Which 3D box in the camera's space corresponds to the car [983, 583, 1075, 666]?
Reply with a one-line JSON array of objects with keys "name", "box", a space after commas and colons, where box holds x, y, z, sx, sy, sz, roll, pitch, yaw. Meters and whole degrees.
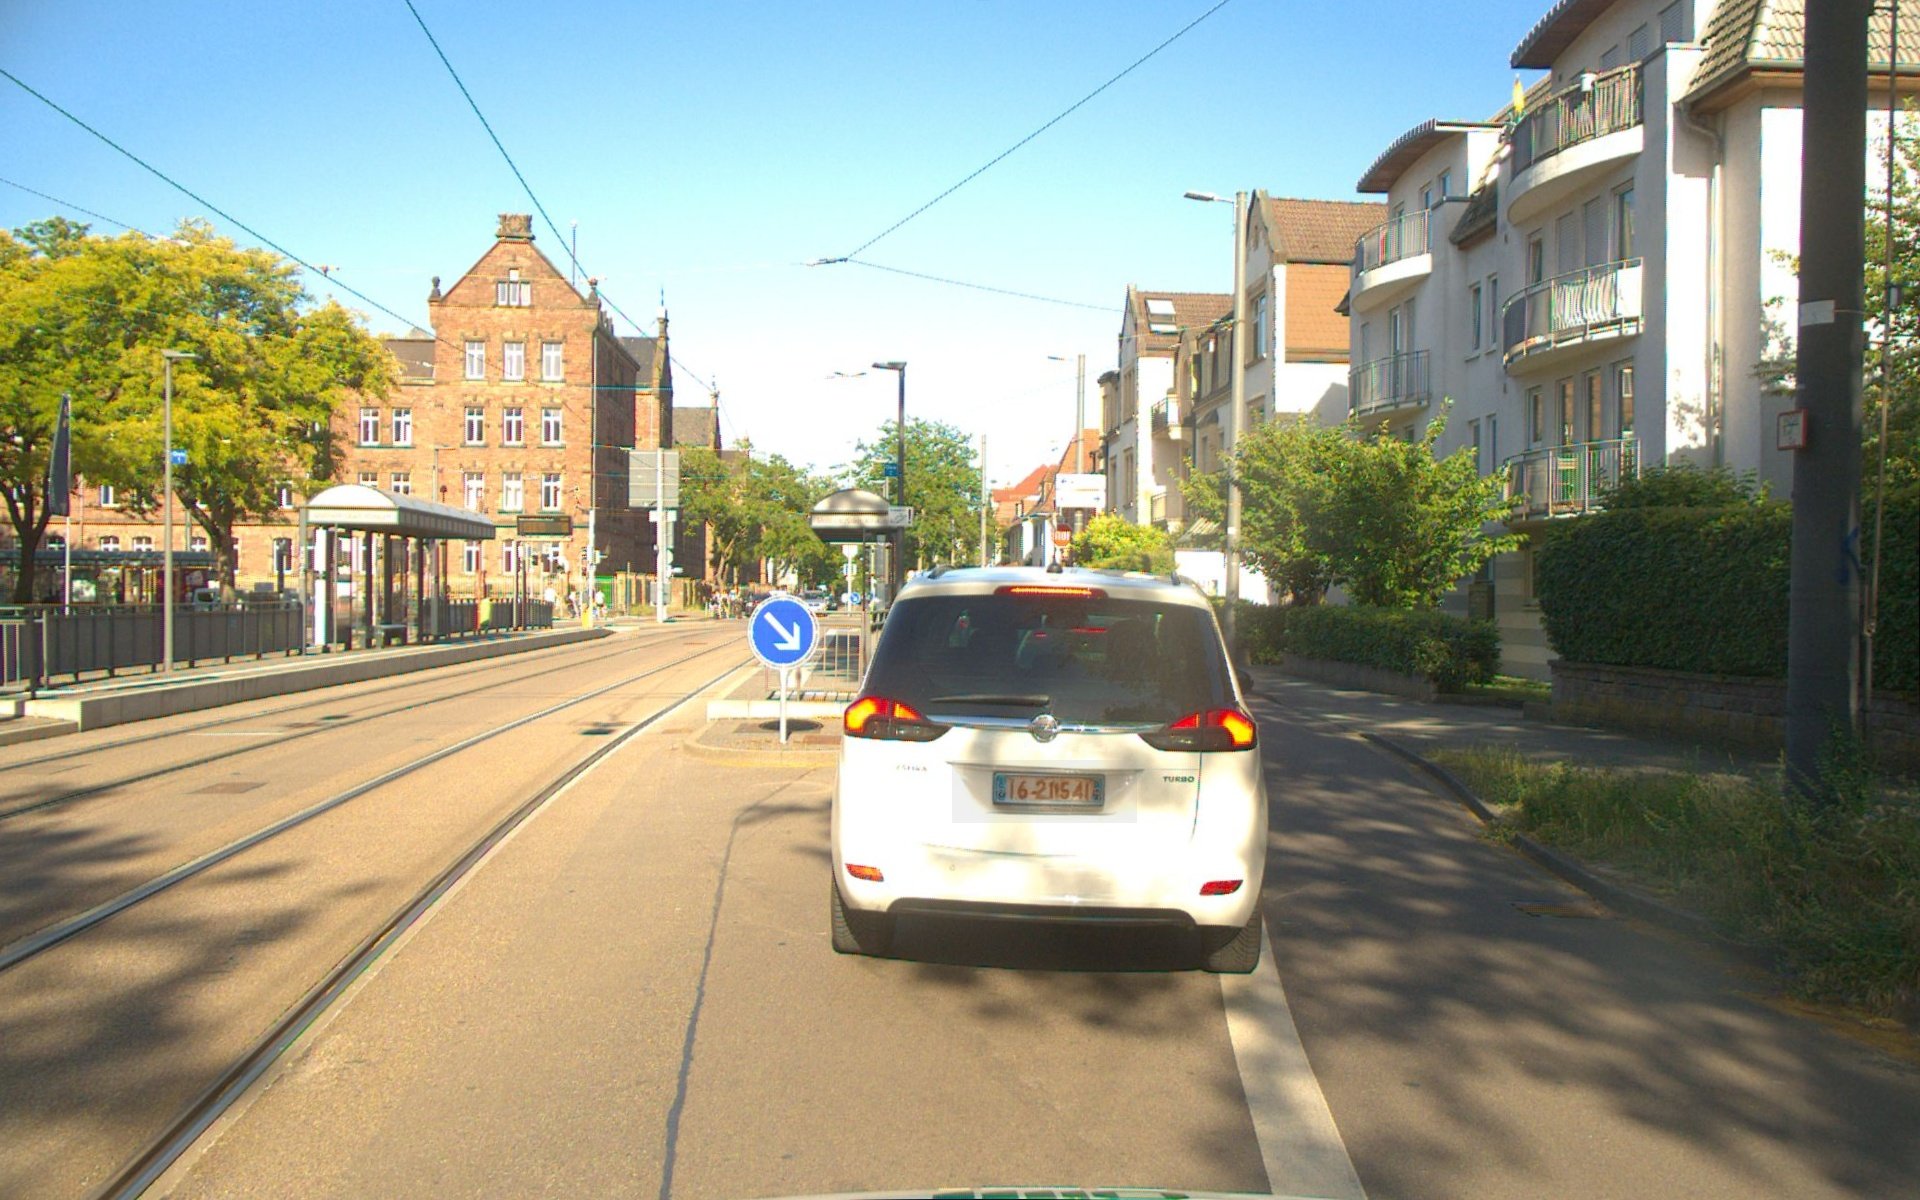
[{"name": "car", "box": [1.448, 0.501, 36.125, 1.868, 1.690, 4.000, 0, 0, 0]}]

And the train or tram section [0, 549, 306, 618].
[{"name": "train or tram section", "box": [-40.745, -0.761, 79.428, 17.048, 3.210, 3.343, 0, 0, -6]}]

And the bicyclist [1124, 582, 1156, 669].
[{"name": "bicyclist", "box": [3.606, 0.504, 33.159, 0.603, 1.716, 0.779, 0, 0, 3]}]

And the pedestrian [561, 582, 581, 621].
[{"name": "pedestrian", "box": [-20.706, 0.086, 88.030, 0.788, 2.049, 0.712, 1, -1, -34]}]

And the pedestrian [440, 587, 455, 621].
[{"name": "pedestrian", "box": [-27.229, 0.197, 87.910, 0.754, 1.805, 0.717, 1, -1, -18]}]

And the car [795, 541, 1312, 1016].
[{"name": "car", "box": [0.546, 0.626, 7.987, 1.866, 1.690, 4.003, 0, 0, 6]}]

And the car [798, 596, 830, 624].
[{"name": "car", "box": [-9.448, 0.623, 107.208, 1.711, 1.746, 3.999, 1, 0, -1]}]

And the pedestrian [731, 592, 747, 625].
[{"name": "pedestrian", "box": [-12.903, 0.491, 96.565, 0.731, 1.934, 0.804, 1, -1, -24]}]

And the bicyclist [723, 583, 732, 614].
[{"name": "bicyclist", "box": [-15.289, -0.083, 108.894, 0.488, 2.049, 0.572, 0, 0, -1]}]

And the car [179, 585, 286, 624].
[{"name": "car", "box": [-32.443, 0.220, 73.826, 3.908, 1.658, 1.817, 1, 0, -4]}]

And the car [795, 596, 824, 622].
[{"name": "car", "box": [-10.465, 0.601, 115.049, 1.711, 1.746, 3.999, 1, 0, -1]}]

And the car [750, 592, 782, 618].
[{"name": "car", "box": [-13.302, 0.360, 113.504, 1.711, 1.746, 3.999, 1, 0, -1]}]

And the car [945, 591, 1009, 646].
[{"name": "car", "box": [0.505, 0.554, 53.088, 1.869, 1.690, 3.998, 0, 0, -2]}]

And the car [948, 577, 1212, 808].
[{"name": "car", "box": [1.070, 0.643, 13.780, 1.866, 1.625, 4.003, 0, 0, 6]}]

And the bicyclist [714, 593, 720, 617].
[{"name": "bicyclist", "box": [-15.101, 0.293, 102.808, 0.307, 1.469, 0.384, 0, 0, -1]}]

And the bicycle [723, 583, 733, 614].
[{"name": "bicycle", "box": [-15.298, -0.083, 108.913, 0.477, 2.049, 1.405, 0, 0, -1]}]

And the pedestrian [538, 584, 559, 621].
[{"name": "pedestrian", "box": [-22.046, 0.145, 88.667, 0.791, 1.934, 0.744, 1, -1, 13]}]

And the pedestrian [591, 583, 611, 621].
[{"name": "pedestrian", "box": [-19.252, 0.114, 88.674, 0.789, 2.049, 0.711, 1, -1, -38]}]

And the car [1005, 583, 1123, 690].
[{"name": "car", "box": [1.791, 0.574, 28.292, 1.867, 1.690, 4.002, 0, 0, 4]}]

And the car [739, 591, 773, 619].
[{"name": "car", "box": [-13.156, 0.301, 106.840, 1.711, 1.746, 3.999, 1, 0, -1]}]

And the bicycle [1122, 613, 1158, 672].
[{"name": "bicycle", "box": [3.599, 0.836, 33.126, 0.611, 1.116, 1.974, 0, 0, 3]}]

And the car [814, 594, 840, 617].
[{"name": "car", "box": [-10.351, 0.447, 128.905, 1.711, 1.746, 3.999, 1, 0, -1]}]

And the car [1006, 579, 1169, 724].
[{"name": "car", "box": [1.685, 0.584, 21.041, 1.866, 1.653, 4.003, 0, 0, 6]}]

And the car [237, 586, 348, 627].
[{"name": "car", "box": [-28.112, 0.267, 69.753, 3.908, 1.658, 1.817, 1, 0, -4]}]

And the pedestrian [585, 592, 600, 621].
[{"name": "pedestrian", "box": [-21.116, 0.372, 95.050, 0.640, 1.640, 0.711, 1, -1, 1]}]

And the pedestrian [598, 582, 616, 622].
[{"name": "pedestrian", "box": [-18.079, 0.090, 84.698, 0.782, 2.049, 0.717, 1, -1, -18]}]
